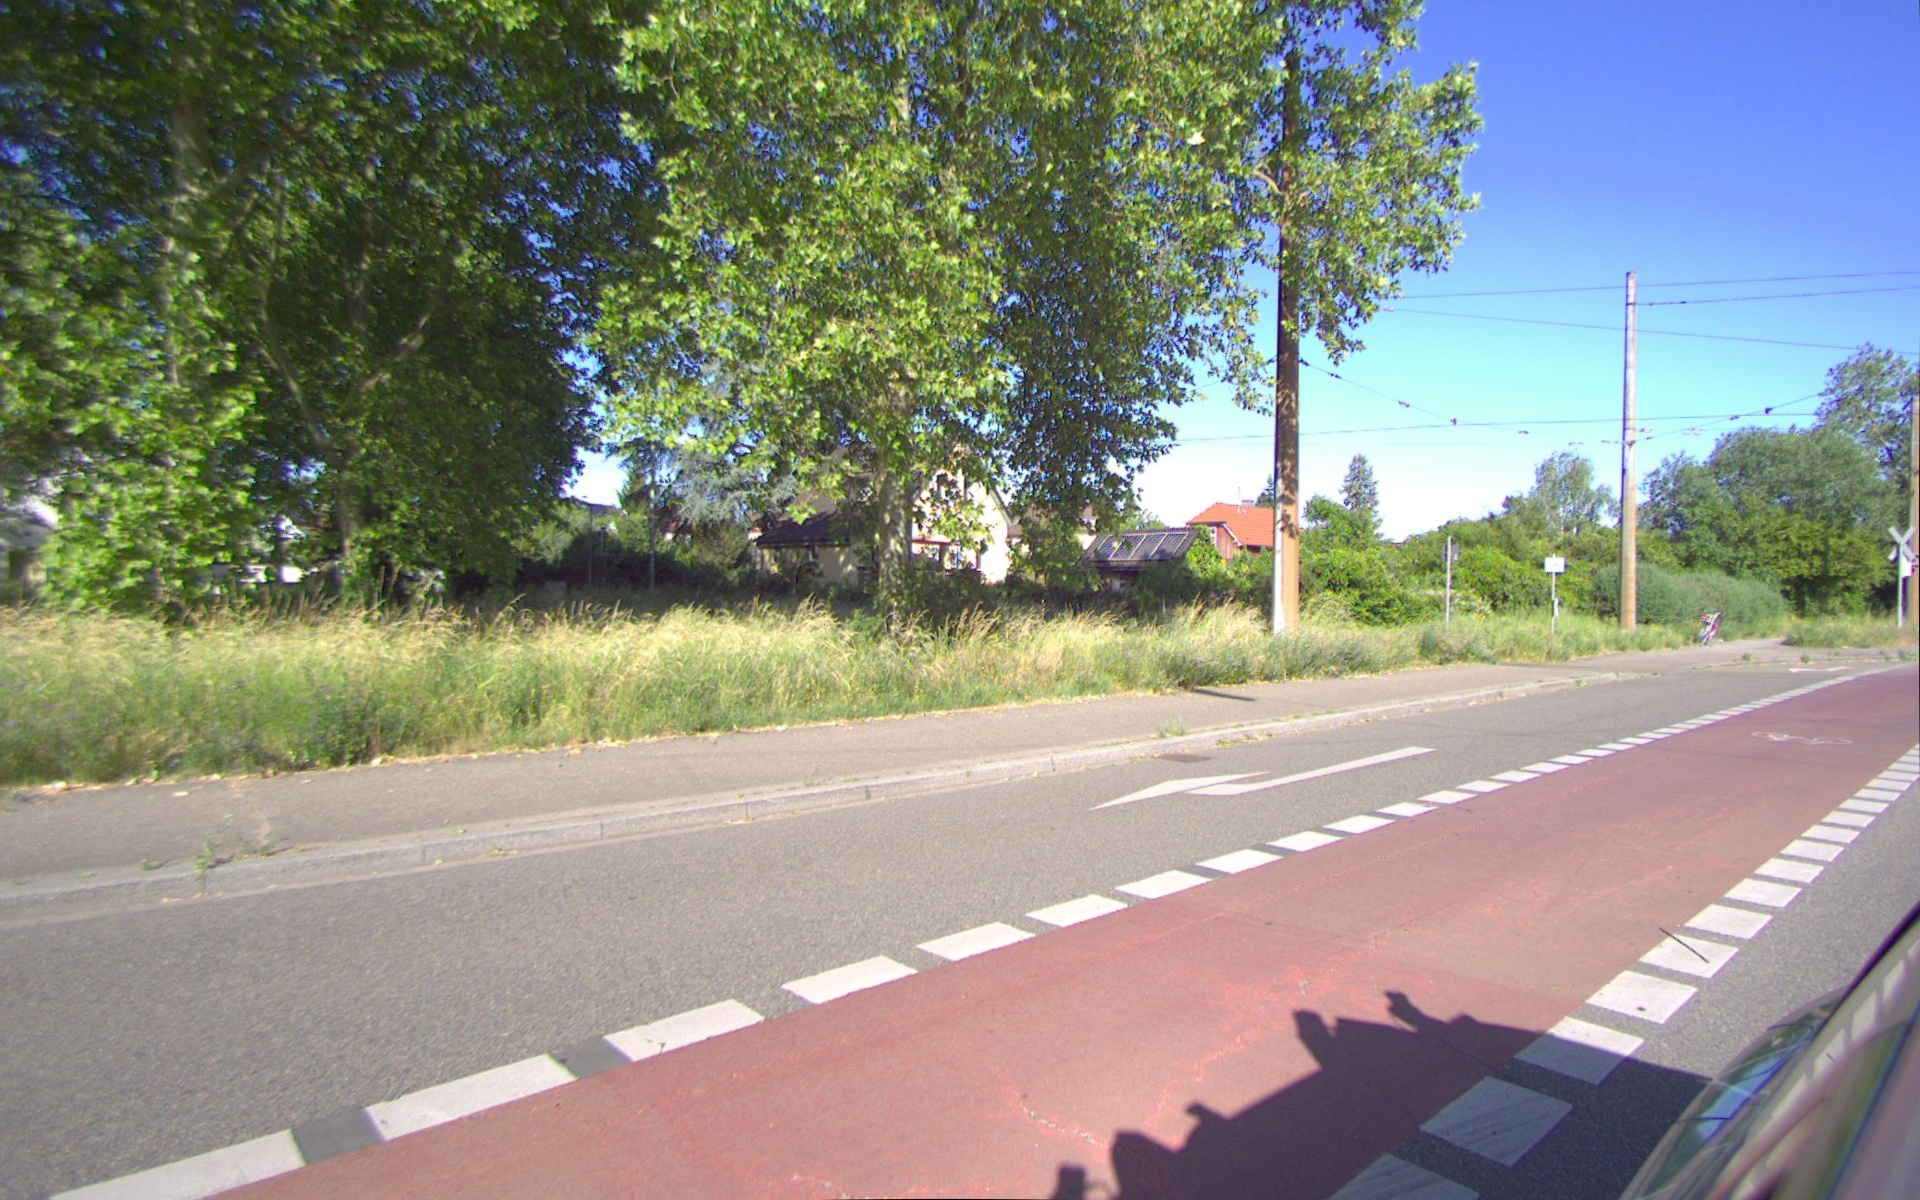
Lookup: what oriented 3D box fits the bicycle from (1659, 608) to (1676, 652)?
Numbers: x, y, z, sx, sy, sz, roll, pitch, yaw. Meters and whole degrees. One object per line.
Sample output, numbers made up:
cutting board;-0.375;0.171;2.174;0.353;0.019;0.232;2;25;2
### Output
bicycle;19.305;0.800;27.618;0.364;1.149;2.069;1;1;35
